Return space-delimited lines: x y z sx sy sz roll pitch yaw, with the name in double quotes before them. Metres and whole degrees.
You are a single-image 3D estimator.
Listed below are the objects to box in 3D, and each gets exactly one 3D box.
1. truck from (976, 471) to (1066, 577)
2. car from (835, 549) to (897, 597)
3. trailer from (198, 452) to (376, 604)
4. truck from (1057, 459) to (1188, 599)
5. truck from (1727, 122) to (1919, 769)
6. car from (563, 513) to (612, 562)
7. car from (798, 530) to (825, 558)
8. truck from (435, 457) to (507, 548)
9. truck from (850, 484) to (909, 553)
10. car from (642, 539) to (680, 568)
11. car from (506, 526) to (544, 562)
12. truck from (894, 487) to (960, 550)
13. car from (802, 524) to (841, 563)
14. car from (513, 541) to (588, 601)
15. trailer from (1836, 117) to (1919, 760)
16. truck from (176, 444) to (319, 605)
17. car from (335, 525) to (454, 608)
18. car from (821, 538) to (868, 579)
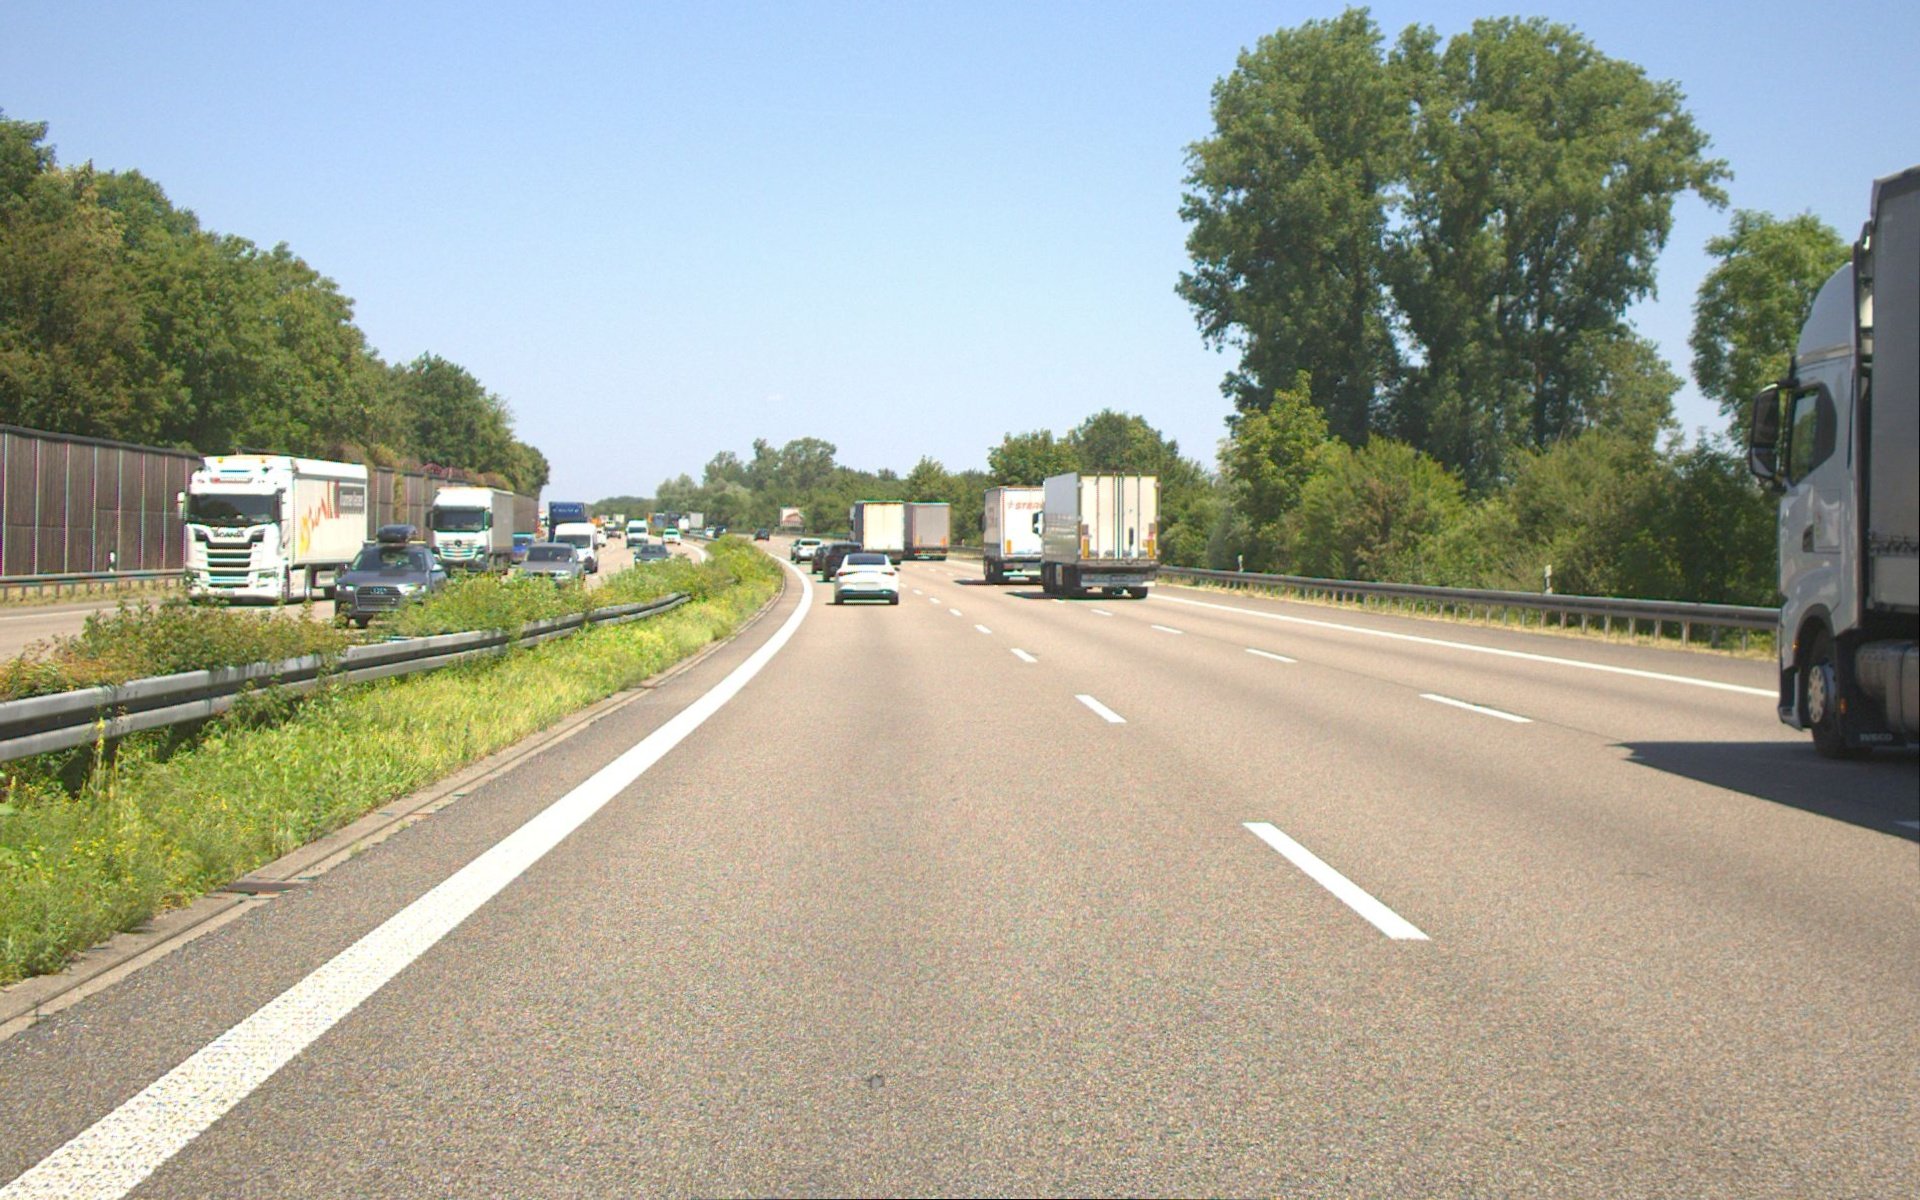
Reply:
"truck" 2.514 -3.168 145.384 3.359 4.296 10.829 1 1 -1
"car" -2.674 -0.788 98.607 1.715 1.365 3.375 0 1 -1
"trailer" -19.369 -2.025 99.921 2.754 4.060 14.391 1 1 -2
"truck" 5.177 -2.262 111.928 3.492 4.296 10.989 1 1 -1
"truck" 7.572 -1.037 24.950 2.605 4.272 5.436 1 1 -2
"car" -18.688 -3.157 172.641 2.080 2.393 6.043 0 1 -3
"car" -9.675 -3.643 224.167 1.723 1.777 4.000 0 1 -2
"truck" -22.178 -4.395 156.102 2.502 4.041 6.363 0 1 -2
"truck" -5.290 -5.228 223.504 3.579 4.296 12.192 1 1 -3
"car" -15.387 -2.403 176.987 1.760 1.423 3.936 0 1 -2
"car" -24.835 -3.216 196.319 1.801 2.007 4.001 0 1 -3
"truck" -2.423 -5.764 245.053 3.829 4.296 11.556 1 1 -5
"car" -7.211 -2.931 178.972 1.993 2.007 4.000 0 1 -2
"car" -11.659 -0.843 98.136 1.766 1.646 4.039 0 1 -2
"trailer" 7.714 -1.002 17.604 2.624 4.246 14.061 1 1 -1
"truck" -19.144 -1.994 92.622 2.730 4.178 6.037 1 1 -2
"car" -10.853 -0.653 66.213 1.713 1.538 4.362 0 1 -2
"car" -5.075 -1.830 150.930 1.993 1.766 4.000 0 1 -1
